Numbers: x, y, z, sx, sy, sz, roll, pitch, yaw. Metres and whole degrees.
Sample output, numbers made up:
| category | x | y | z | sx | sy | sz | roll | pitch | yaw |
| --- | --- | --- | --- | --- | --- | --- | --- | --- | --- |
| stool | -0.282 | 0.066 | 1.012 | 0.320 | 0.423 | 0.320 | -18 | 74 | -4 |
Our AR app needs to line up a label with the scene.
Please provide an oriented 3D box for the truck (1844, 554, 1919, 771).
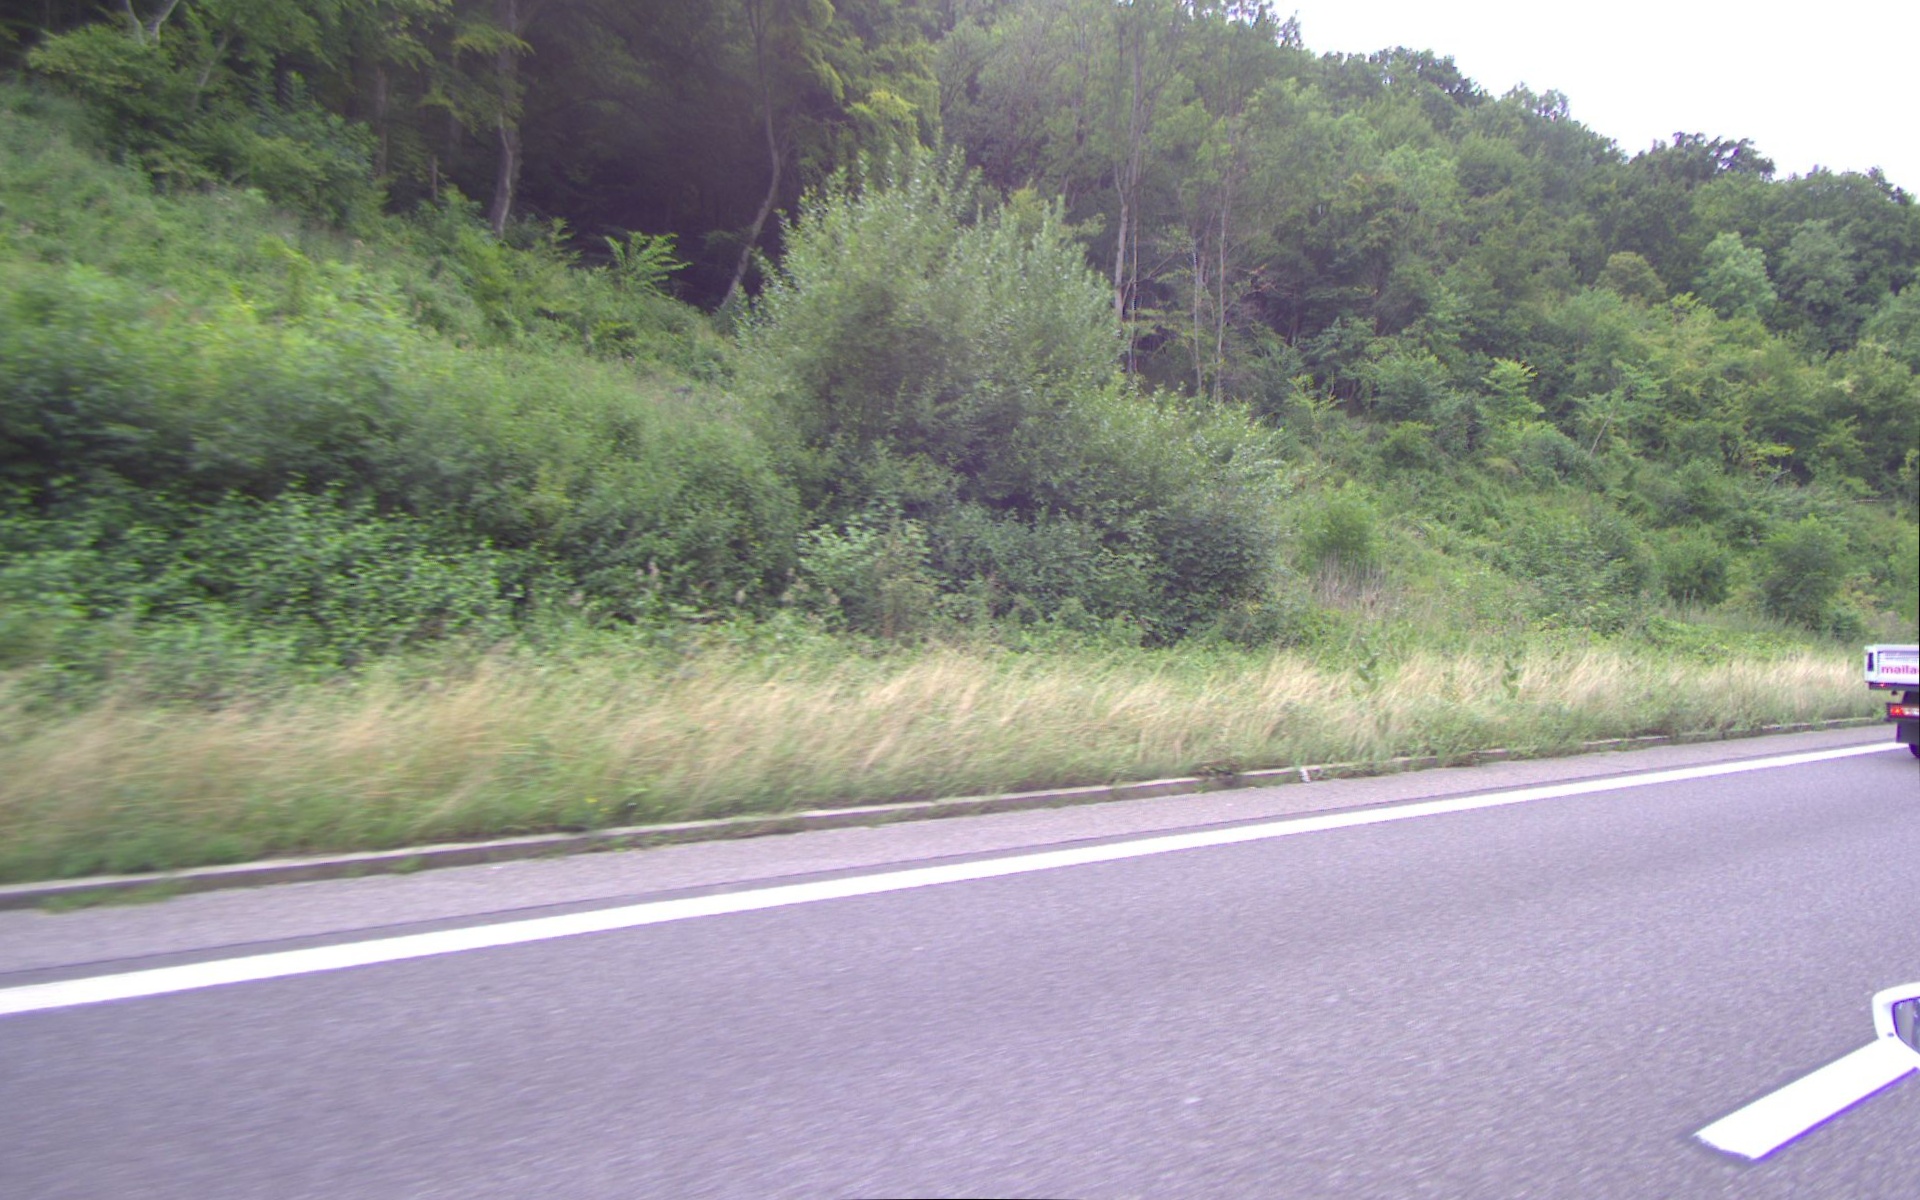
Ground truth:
| category | x | y | z | sx | sy | sz | roll | pitch | yaw |
| --- | --- | --- | --- | --- | --- | --- | --- | --- | --- |
| truck | 13.288 | 0.736 | 12.012 | 6.775 | 2.304 | 2.336 | 2 | -1 | -33 |
